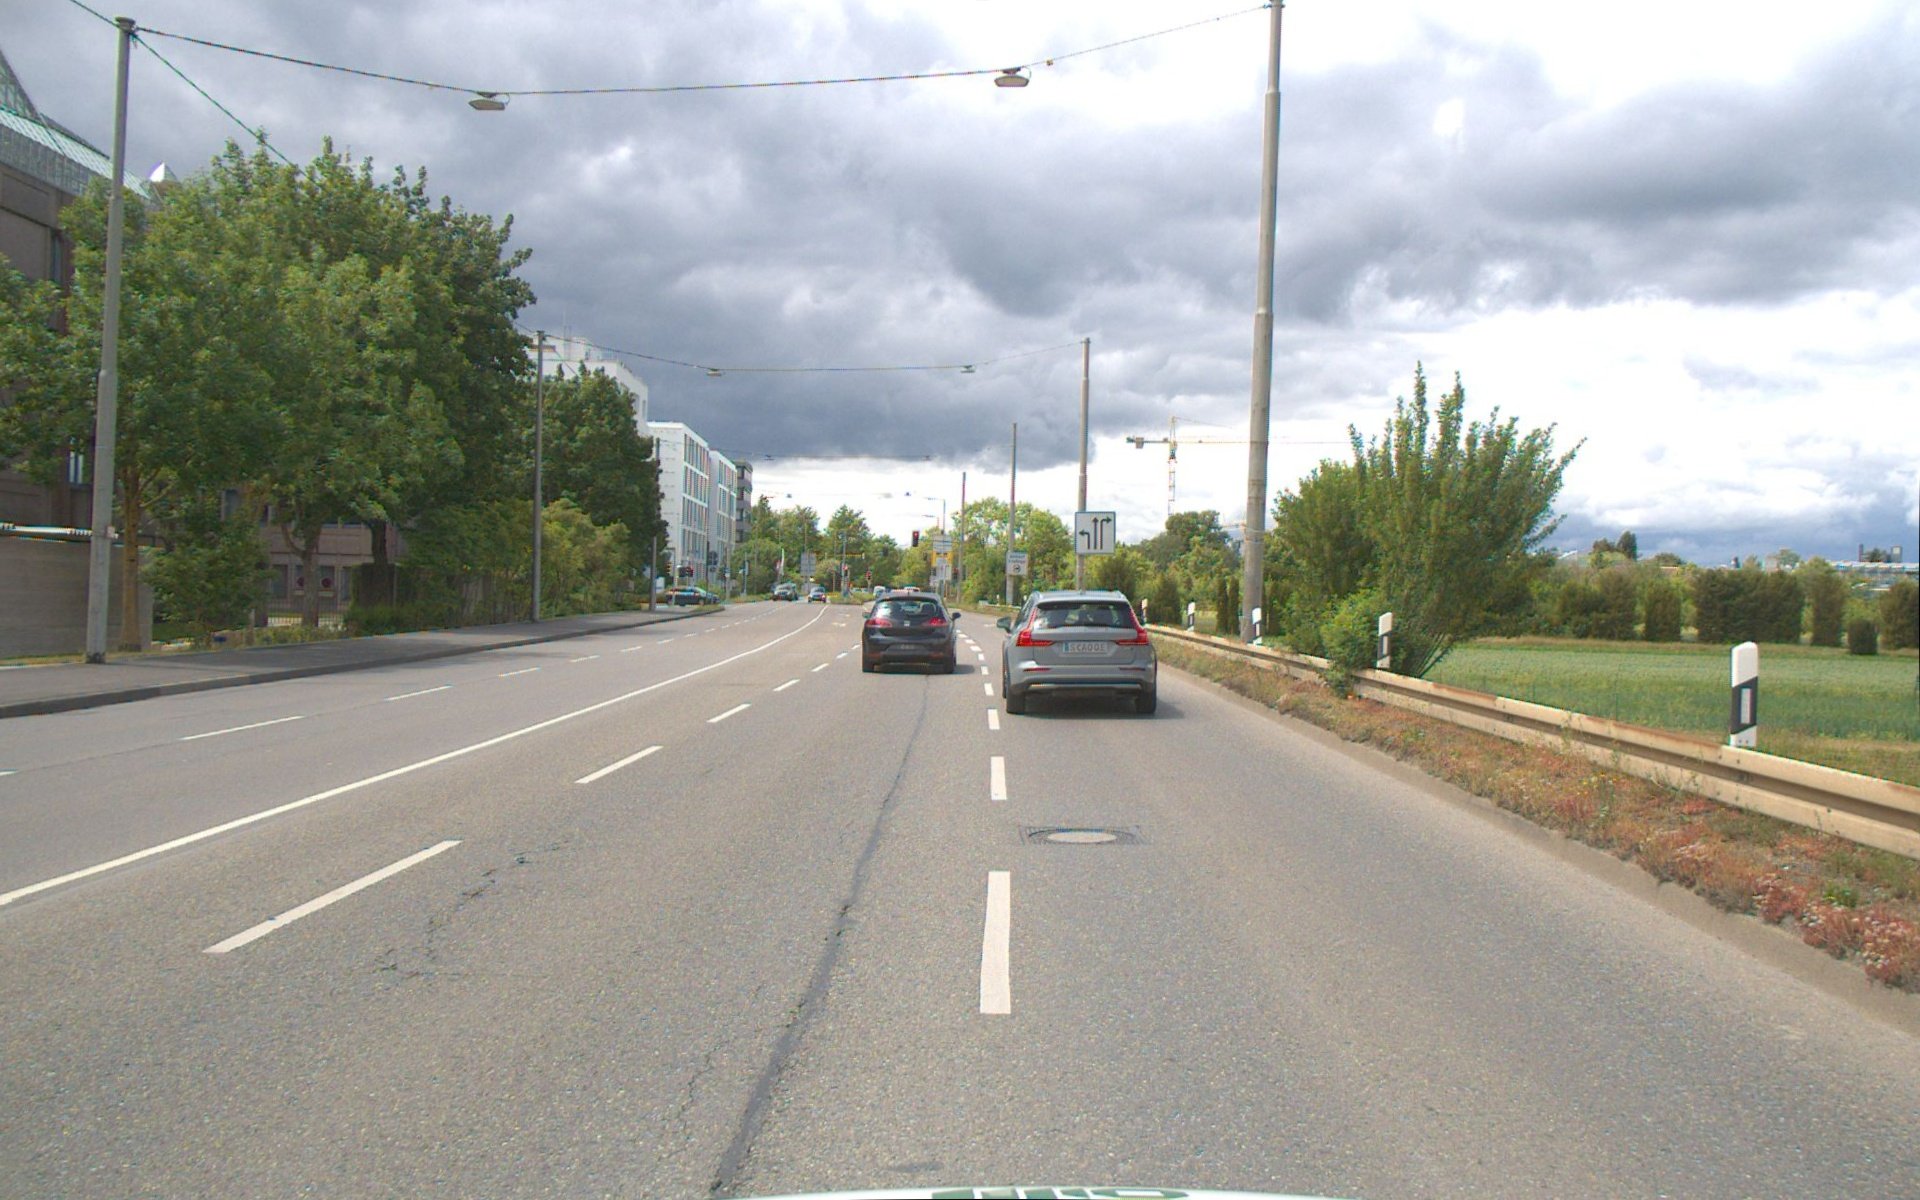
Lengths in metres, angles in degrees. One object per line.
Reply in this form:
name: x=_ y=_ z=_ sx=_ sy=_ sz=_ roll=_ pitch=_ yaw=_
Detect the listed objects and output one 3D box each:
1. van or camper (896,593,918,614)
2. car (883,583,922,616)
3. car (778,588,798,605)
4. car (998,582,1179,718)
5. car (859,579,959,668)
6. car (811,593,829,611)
van or camper: x=-5.447 y=0.351 z=169.612 sx=1.863 sy=1.959 sz=3.993 roll=4 pitch=-2 yaw=-7
car: x=-3.179 y=-0.039 z=90.777 sx=1.945 sy=1.617 sz=4.222 roll=2 pitch=1 yaw=-5
car: x=-16.572 y=-0.351 z=159.562 sx=1.717 sy=1.659 sz=3.996 roll=-1 pitch=0 yaw=-4
car: x=1.535 y=0.586 z=21.255 sx=1.918 sy=1.552 sz=4.339 roll=0 pitch=0 yaw=-1
car: x=-0.940 y=0.432 z=31.366 sx=1.712 sy=1.509 sz=3.999 roll=2 pitch=0 yaw=-1
car: x=-13.390 y=0.154 z=157.824 sx=1.636 sy=1.551 sz=4.005 roll=-1 pitch=2 yaw=-4
